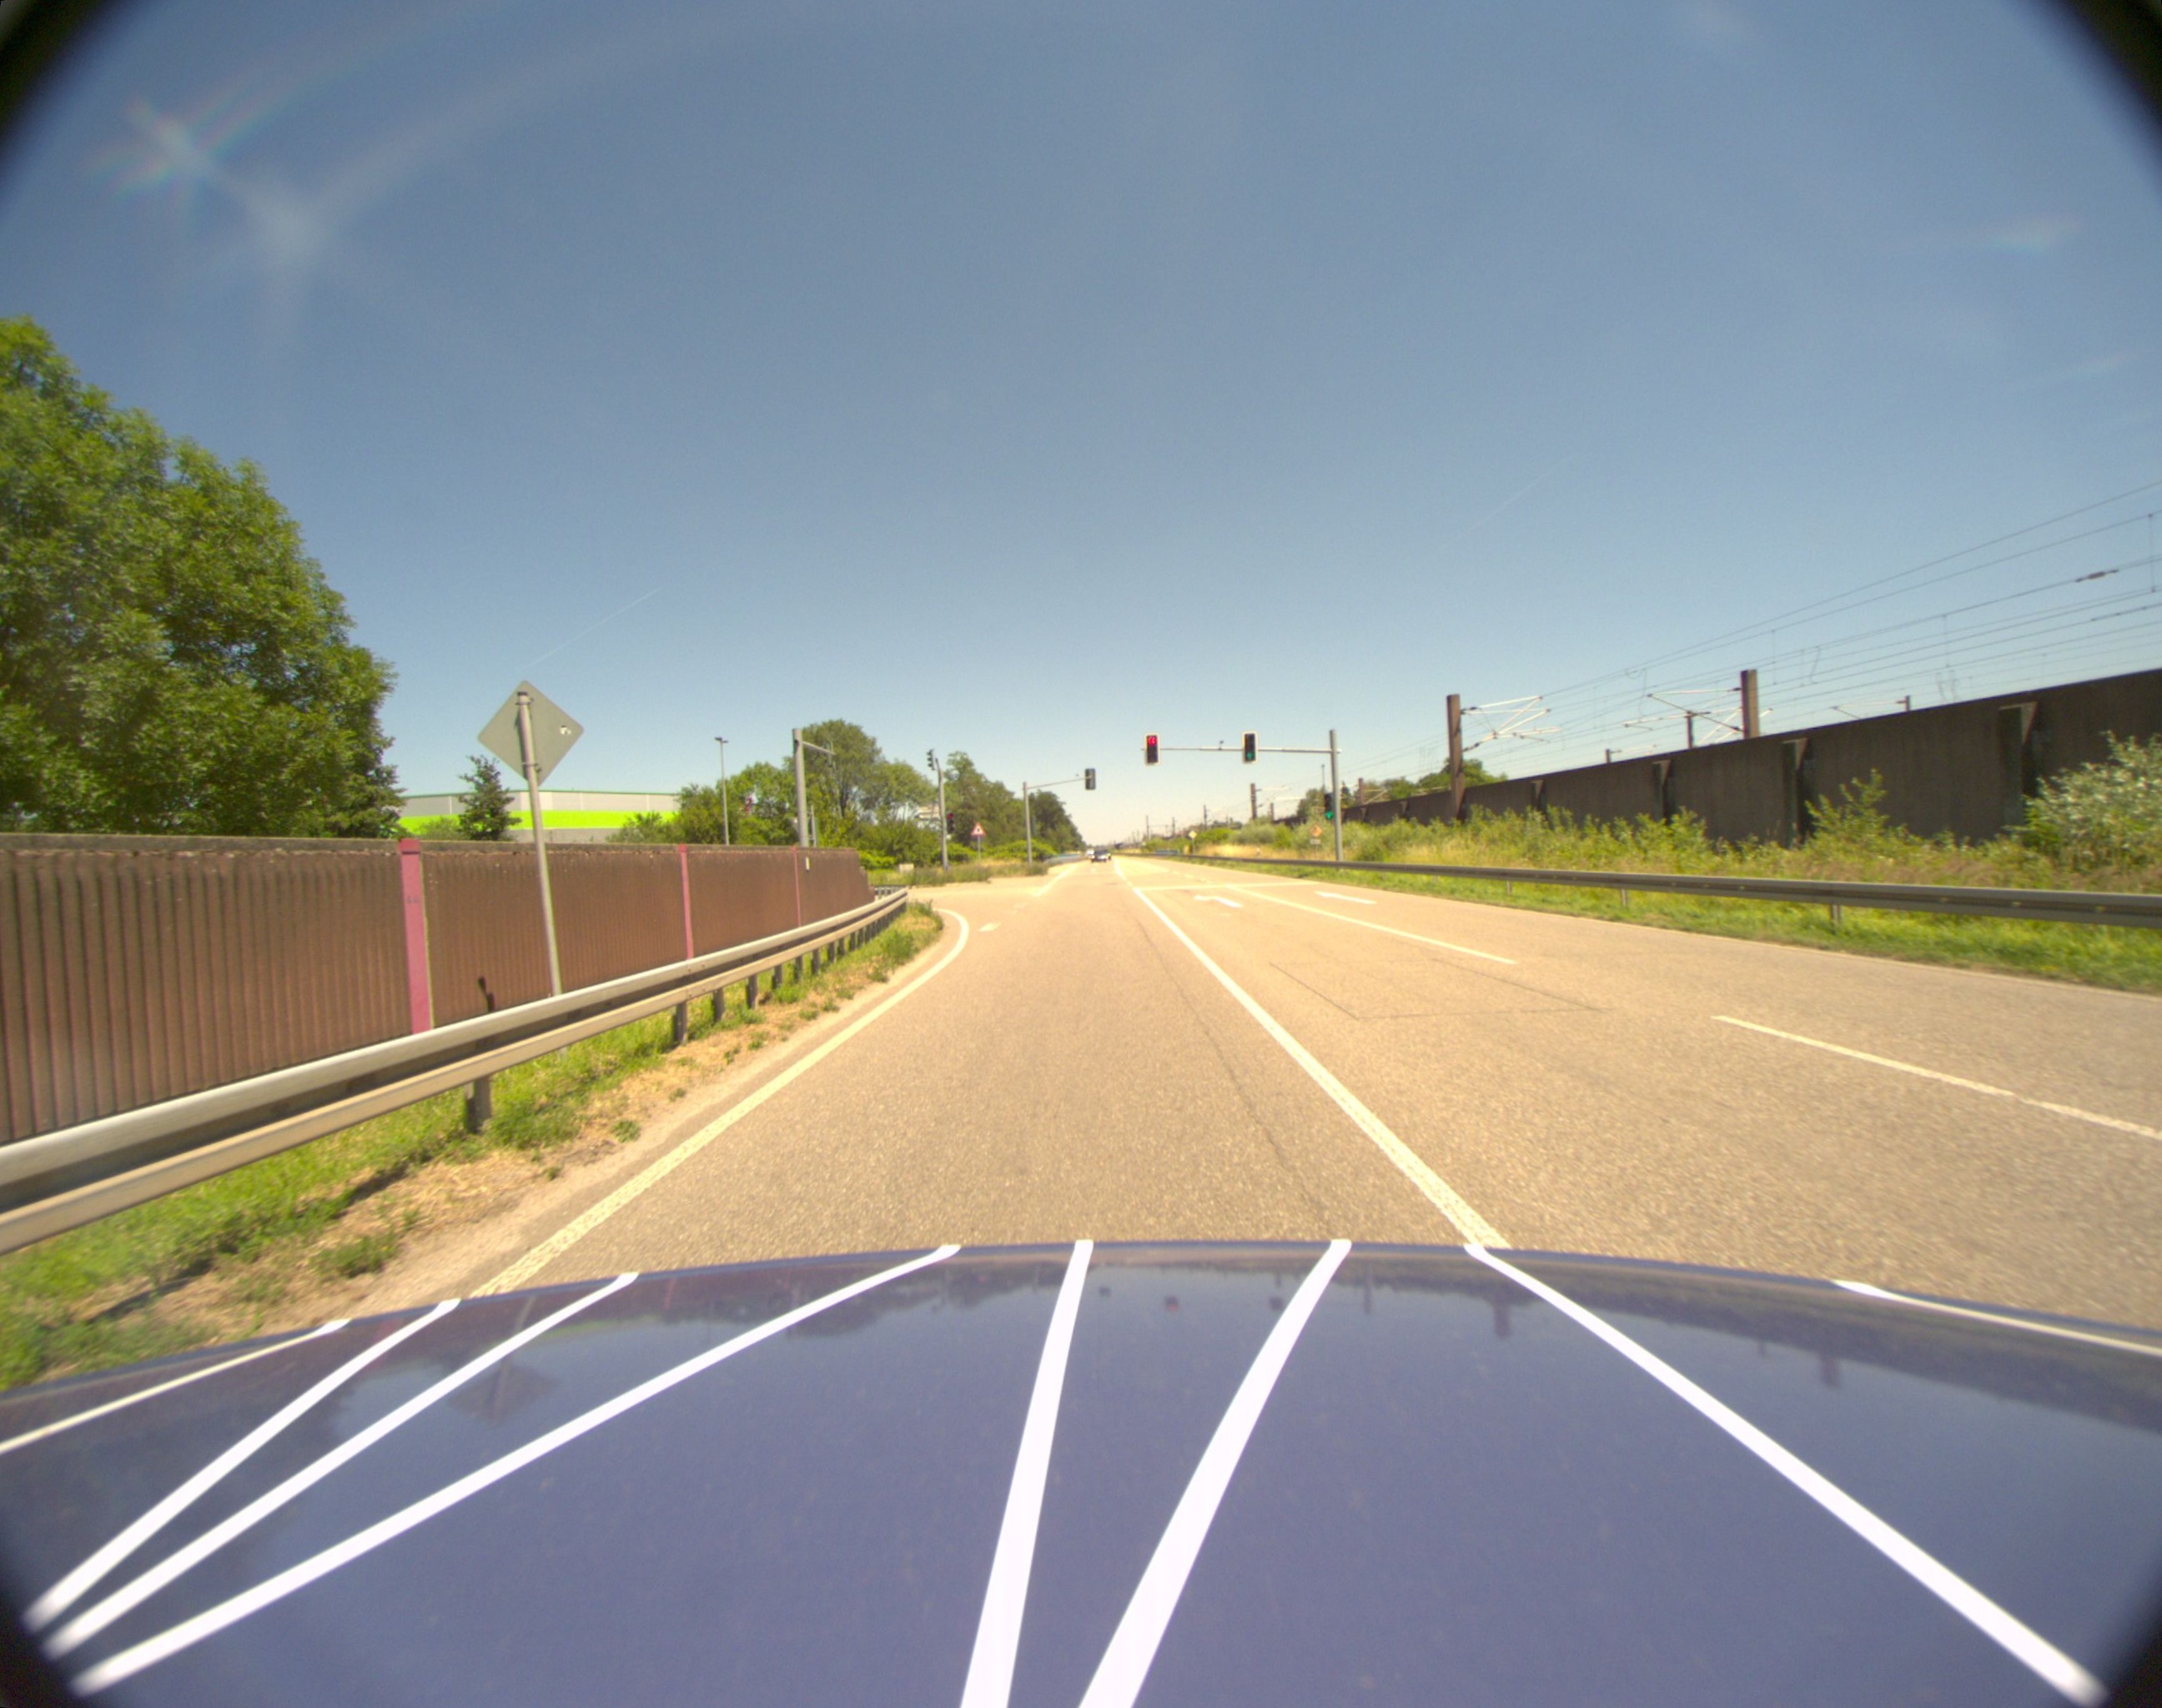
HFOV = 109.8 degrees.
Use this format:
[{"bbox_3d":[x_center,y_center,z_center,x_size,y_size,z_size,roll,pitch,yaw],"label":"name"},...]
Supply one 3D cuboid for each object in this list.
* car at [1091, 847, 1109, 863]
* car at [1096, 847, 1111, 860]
[{"bbox_3d":[2.329,0.079,90.256,1.998,1.718,4.000,-2,1,3],"label":"car"},{"bbox_3d":[3.296,-0.044,109.337,1.998,1.718,4.000,-2,1,2],"label":"car"}]
